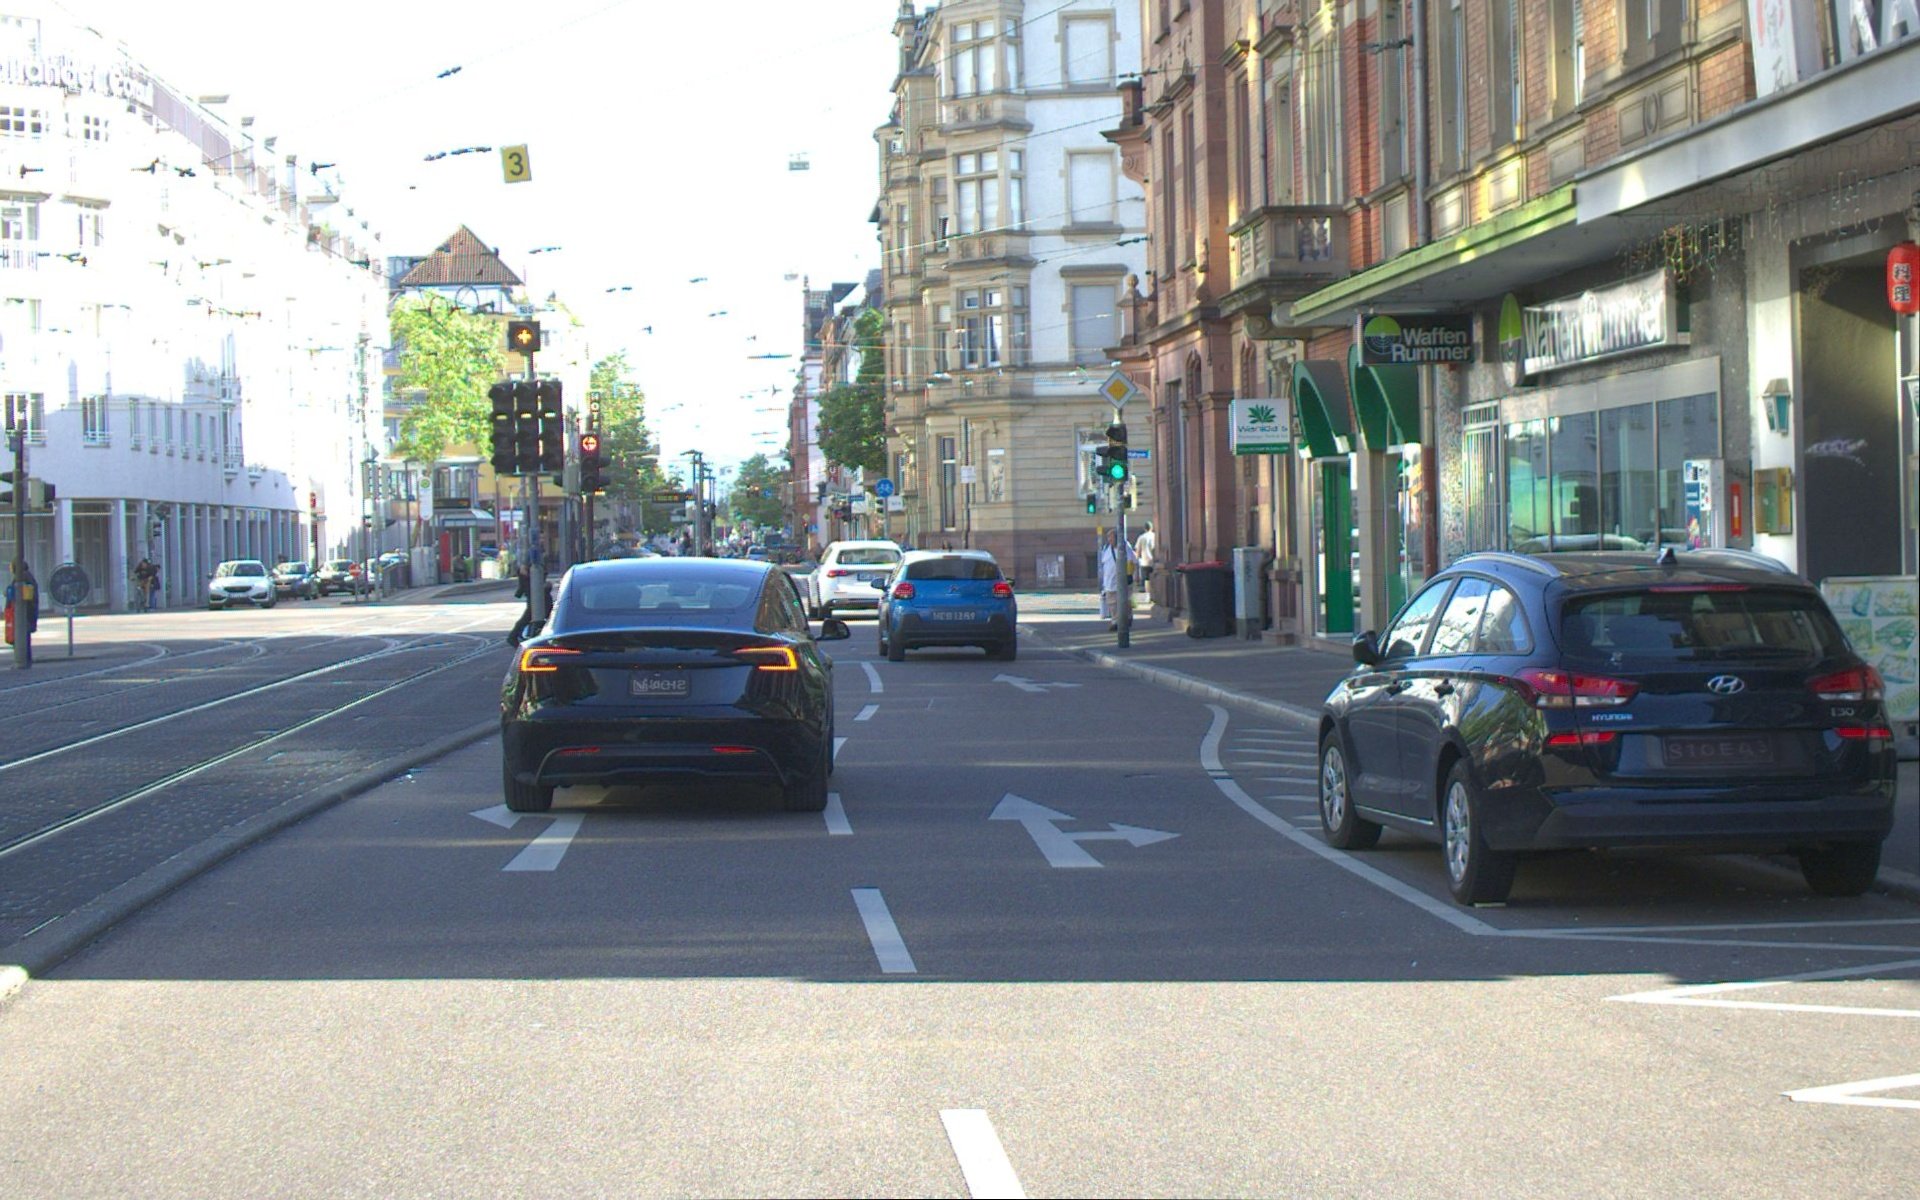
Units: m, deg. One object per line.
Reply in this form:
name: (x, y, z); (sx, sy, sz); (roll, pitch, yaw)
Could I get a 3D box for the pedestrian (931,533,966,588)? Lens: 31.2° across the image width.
pedestrian: (-0.333, -1.169, 101.950); (0.922, 1.626, 0.942); (-2, 0, 5)

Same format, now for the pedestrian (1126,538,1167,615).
pedestrian: (4.046, -0.508, 74.708); (0.701, 1.649, 0.631); (-2, 0, 18)

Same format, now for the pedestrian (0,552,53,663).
pedestrian: (-13.064, 0.100, 48.045); (0.500, 1.512, 0.859); (-3, 1, -4)

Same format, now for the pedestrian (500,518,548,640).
pedestrian: (-6.417, -0.313, 50.638); (0.558, 1.757, 0.895); (-3, 1, -4)

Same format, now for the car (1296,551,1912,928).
car: (2.746, 0.521, 15.669); (1.690, 1.446, 4.360); (0, 1, -4)

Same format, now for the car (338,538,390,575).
car: (-25.220, -1.859, 145.556); (1.728, 1.509, 4.405); (-1, 1, -5)

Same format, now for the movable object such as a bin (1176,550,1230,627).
movable object such as a bin: (3.548, -0.174, 50.280); (0.663, 1.069, 0.545); (-4, 1, -1)

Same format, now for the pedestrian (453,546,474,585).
pedestrian: (-19.729, -1.358, 136.631); (0.731, 1.522, 0.743); (-1, 2, -5)

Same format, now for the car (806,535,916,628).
car: (-1.940, -0.351, 66.229); (1.993, 1.737, 4.000); (0, 0, -3)

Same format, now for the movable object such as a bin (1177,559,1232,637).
movable object such as a bin: (3.535, -0.031, 49.683); (0.663, 1.069, 0.591); (-4, 1, -1)

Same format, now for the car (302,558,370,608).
car: (-25.230, -0.709, 139.081); (2.227, 1.904, 4.610); (-1, 1, -5)

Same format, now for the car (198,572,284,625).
car: (-21.367, -0.058, 102.313); (1.993, 1.446, 4.503); (-2, 1, -5)

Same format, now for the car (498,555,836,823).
car: (-1.731, 0.456, 20.630); (1.810, 1.419, 4.154); (0, 1, -4)

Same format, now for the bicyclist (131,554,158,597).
bicyclist: (-24.651, -0.728, 103.943); (0.588, 1.281, 0.927); (-2, 0, -3)

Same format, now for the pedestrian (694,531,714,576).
pedestrian: (-9.644, -1.759, 129.470); (0.636, 1.692, 0.933); (0, 0, 4)

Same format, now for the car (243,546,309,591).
car: (-25.471, -1.152, 128.128); (1.993, 1.590, 4.001); (-2, 0, -6)

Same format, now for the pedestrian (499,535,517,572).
pedestrian: (-19.343, -1.981, 147.101); (0.731, 1.553, 0.743); (-1, 2, -5)

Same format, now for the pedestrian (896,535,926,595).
pedestrian: (-1.454, -1.052, 102.662); (0.779, 1.743, 1.093); (-1, 3, -6)

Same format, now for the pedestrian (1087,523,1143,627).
pedestrian: (2.442, -0.396, 54.247); (0.681, 1.602, 0.731); (-2, 1, -12)

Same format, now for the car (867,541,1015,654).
car: (-0.288, -0.064, 46.258); (1.781, 1.446, 3.655); (0, 1, -3)

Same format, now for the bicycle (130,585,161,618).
bicycle: (-24.656, 0.042, 104.083); (0.594, 0.969, 1.818); (-2, 0, -3)

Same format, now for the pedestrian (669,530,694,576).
pedestrian: (-10.880, -1.828, 134.205); (0.718, 1.771, 0.564); (-1, 1, 32)
